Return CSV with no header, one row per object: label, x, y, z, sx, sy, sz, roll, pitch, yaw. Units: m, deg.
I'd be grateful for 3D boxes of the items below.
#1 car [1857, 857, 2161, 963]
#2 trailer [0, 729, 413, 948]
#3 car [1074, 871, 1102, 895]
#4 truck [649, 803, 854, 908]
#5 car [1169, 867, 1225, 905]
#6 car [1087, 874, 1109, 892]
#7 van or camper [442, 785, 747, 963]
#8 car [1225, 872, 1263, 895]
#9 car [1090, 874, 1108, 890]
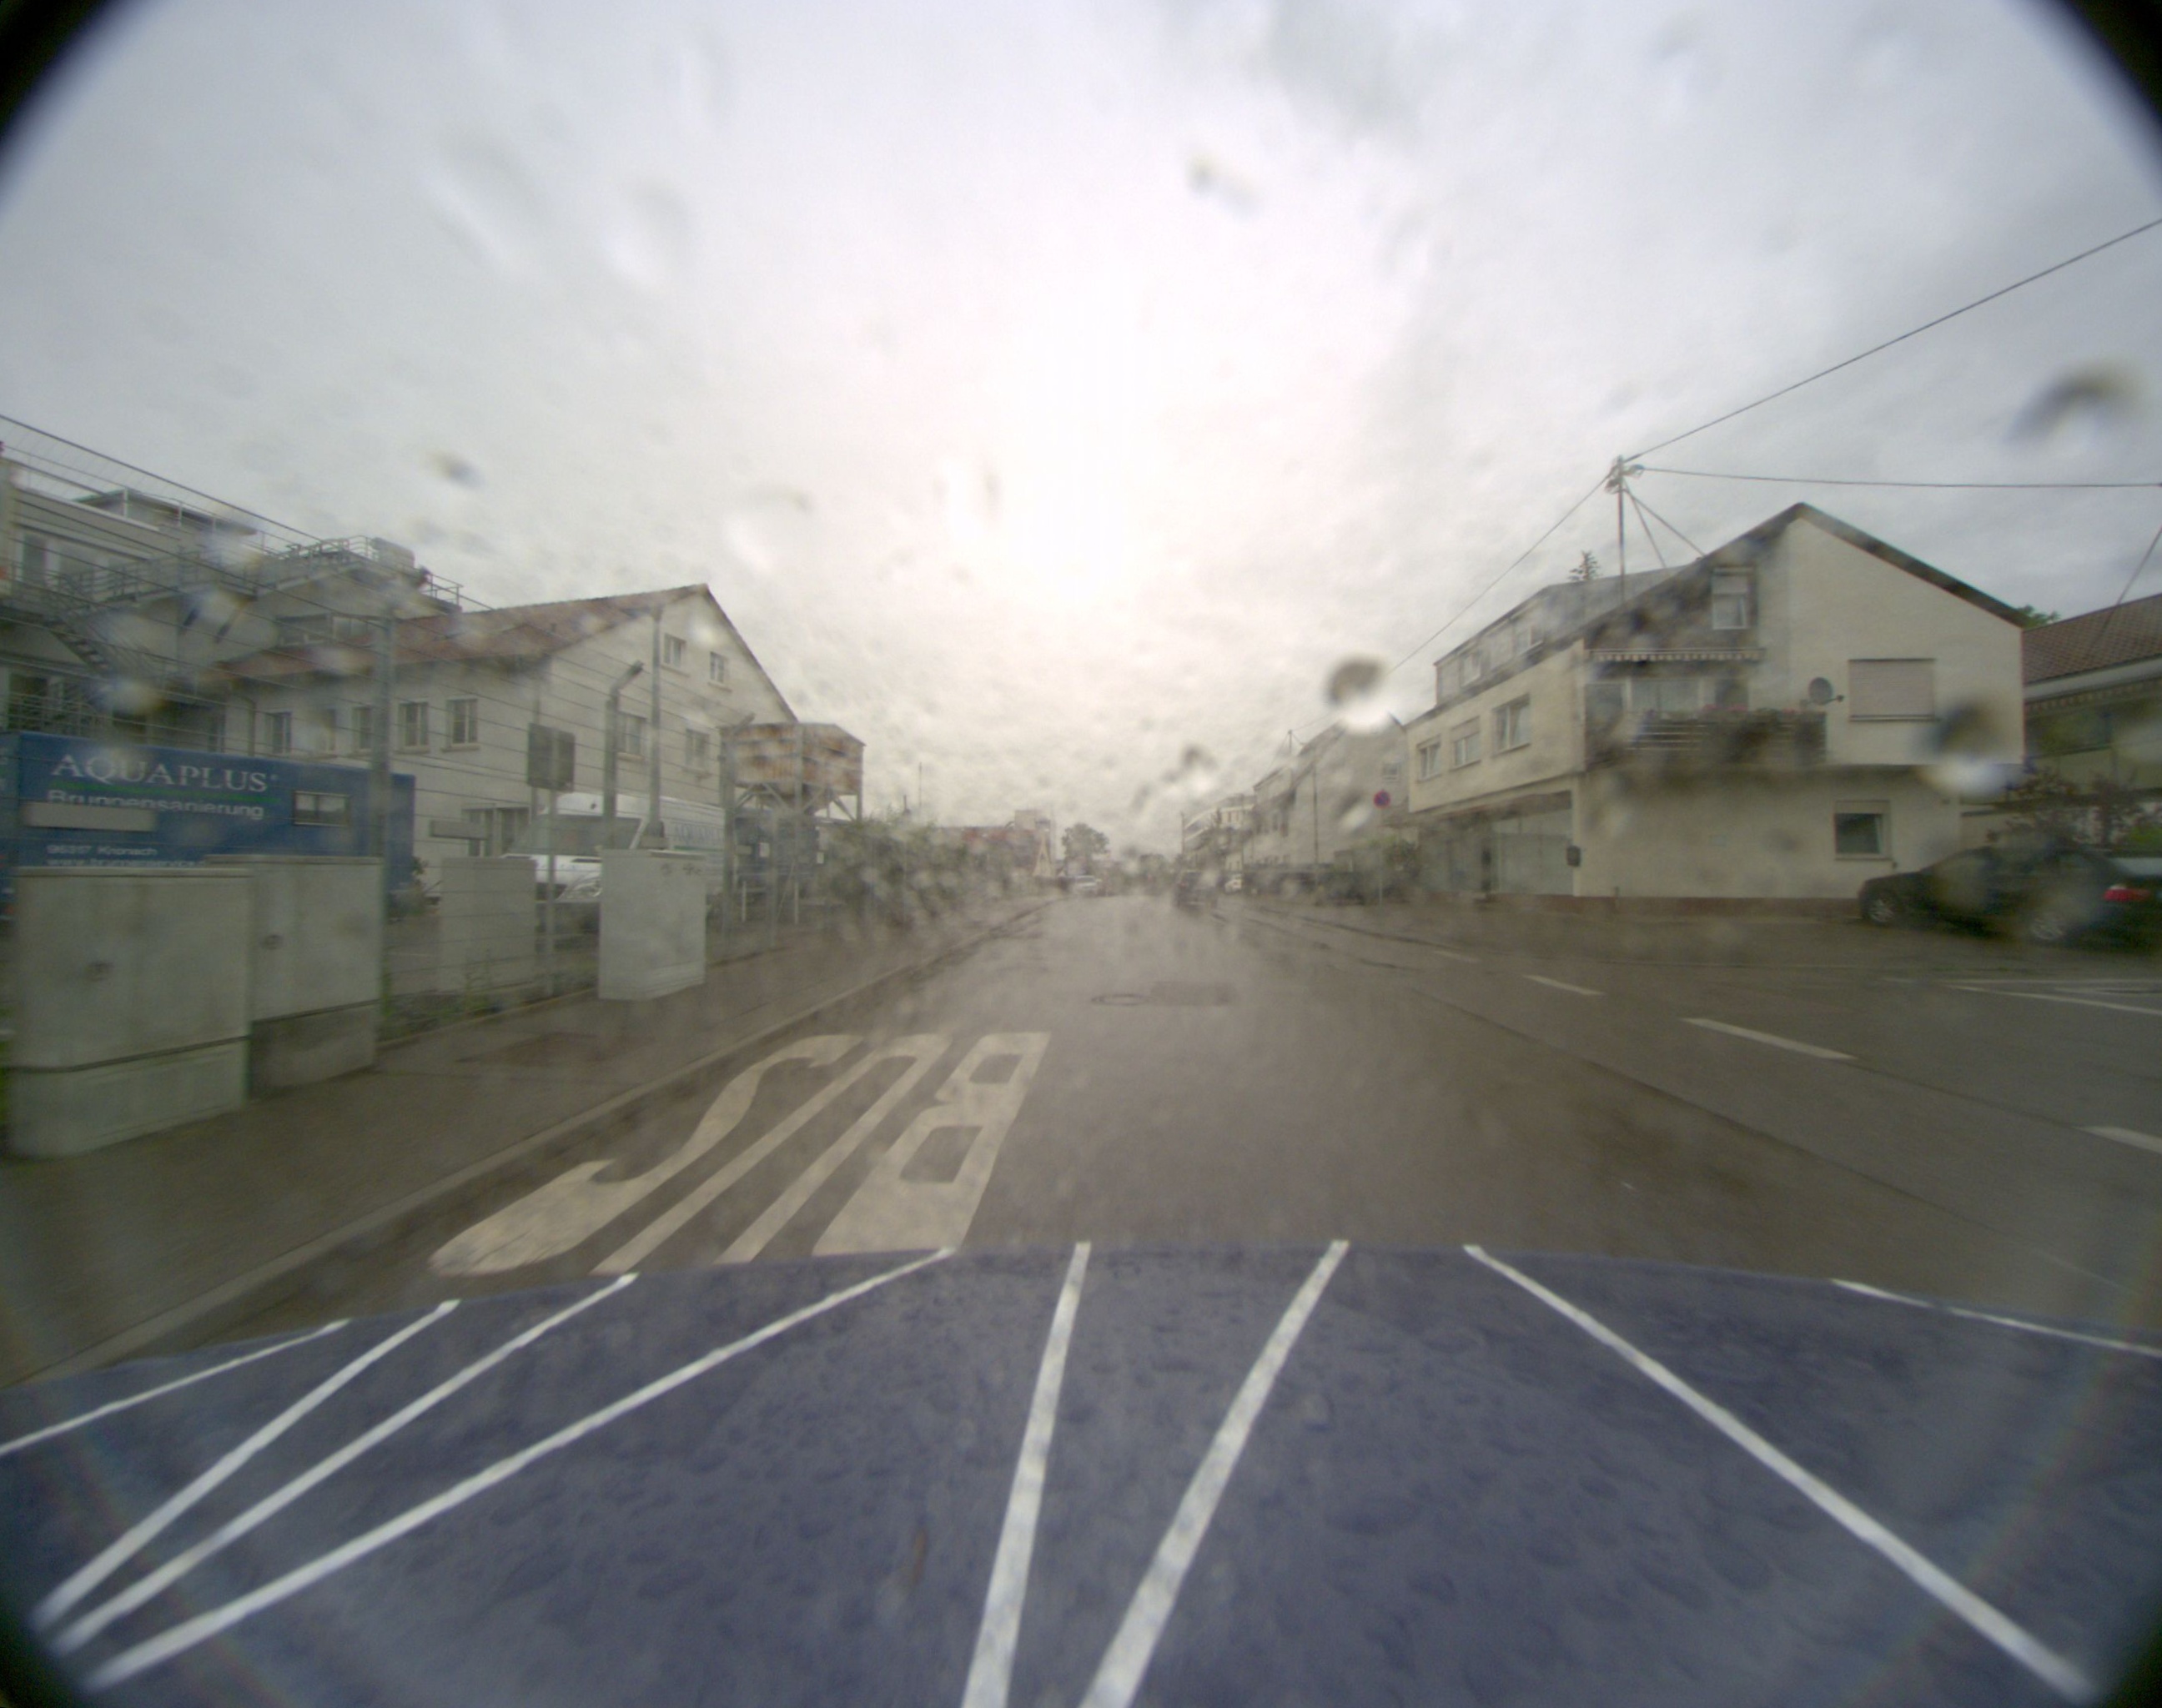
car,17.529,0.914,14.106,1.998,1.647,4.199,1,0,2
trailer,-14.657,-0.215,12.546,2.631,2.875,4.636,-2,1,19
car,0.498,2.012,53.534,1.897,1.537,4.000,1,0,1
truck,-10.498,0.024,25.173,2.323,2.951,7.140,1,0,14
car,5.137,1.380,34.099,1.897,1.524,4.000,1,0,1
car,1.570,2.697,71.315,1.897,1.470,4.000,1,0,1
van or camper,-8.193,0.289,13.717,2.090,2.481,5.802,1,0,-4
car,11.788,2.112,55.206,1.897,1.524,4.000,1,0,1
car,1.900,2.935,80.695,1.897,1.470,4.000,1,0,1
